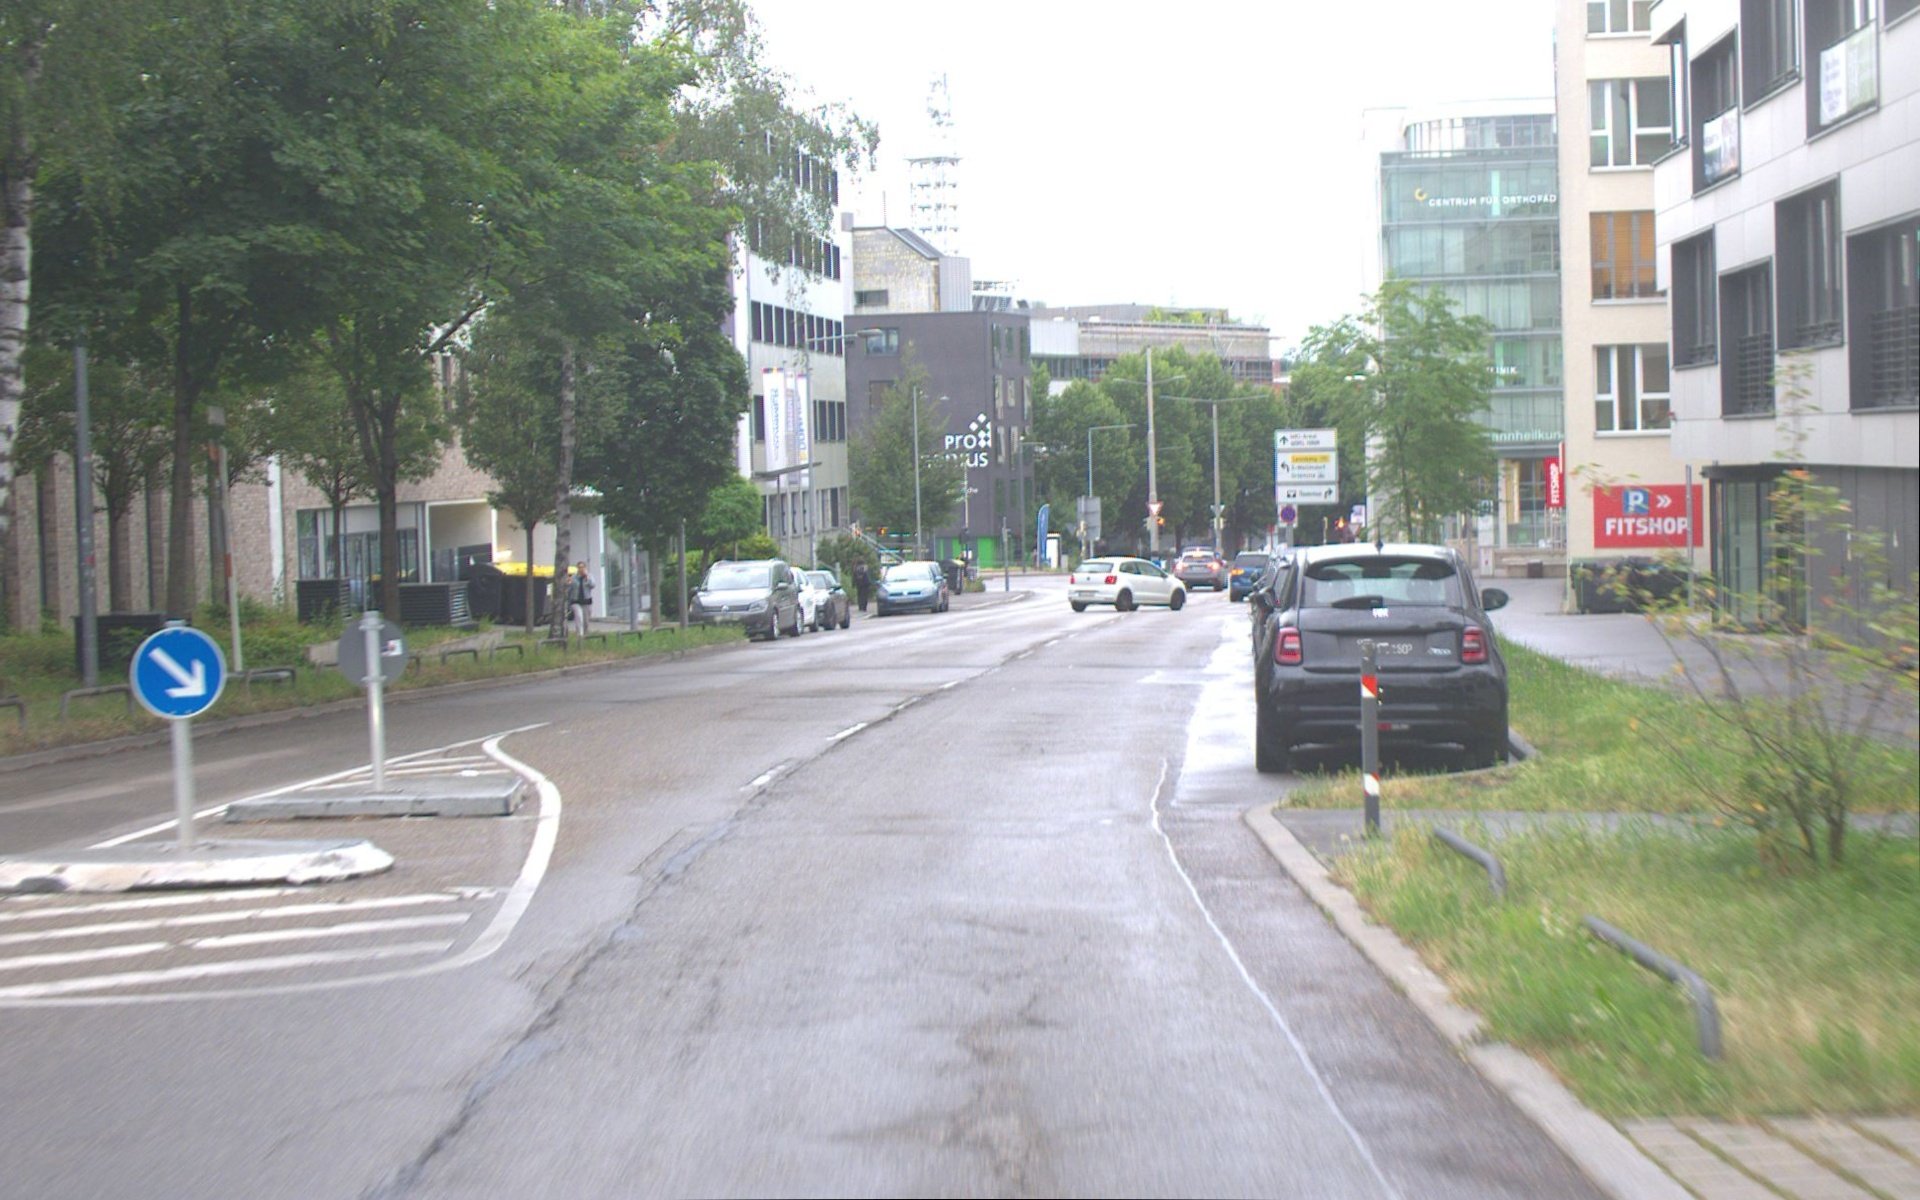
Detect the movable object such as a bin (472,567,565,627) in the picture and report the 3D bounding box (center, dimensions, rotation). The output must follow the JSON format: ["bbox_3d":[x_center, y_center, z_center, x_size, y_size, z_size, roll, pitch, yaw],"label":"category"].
[{"bbox_3d":[-10.573,-0.080,82.444,2.027,1.425,1.290,0,0,2],"label":"movable object such as a bin"}]

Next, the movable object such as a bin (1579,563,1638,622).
[{"bbox_3d":[15.173,-0.176,80.456,1.235,1.316,1.191,-2,-1,8],"label":"movable object such as a bin"}]

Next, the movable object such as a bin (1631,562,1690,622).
[{"bbox_3d":[16.535,-0.191,81.219,1.261,1.398,1.112,-1,0,8],"label":"movable object such as a bin"}]

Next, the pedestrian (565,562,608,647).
[{"bbox_3d":[-7.574,0.084,69.678,0.708,1.677,0.956,-1,1,1],"label":"pedestrian"}]

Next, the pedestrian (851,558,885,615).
[{"bbox_3d":[-2.833,-0.424,105.335,0.728,1.703,0.903,-2,-1,-21],"label":"pedestrian"}]

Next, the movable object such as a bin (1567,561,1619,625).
[{"bbox_3d":[15.220,-0.174,82.705,1.174,1.498,1.013,-1,0,8],"label":"movable object such as a bin"}]

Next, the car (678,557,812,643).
[{"bbox_3d":[-4.385,-0.019,70.710,2.078,1.603,4.685,-3,1,4],"label":"car"}]

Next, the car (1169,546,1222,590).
[{"bbox_3d":[9.652,-1.305,140.976,2.142,1.722,3.999,-1,0,4],"label":"car"}]

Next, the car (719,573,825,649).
[{"bbox_3d":[-4.156,0.225,76.384,1.773,1.595,4.031,-1,1,5],"label":"car"}]

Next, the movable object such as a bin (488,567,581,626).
[{"bbox_3d":[-10.367,-0.085,83.882,2.054,1.418,1.317,0,0,2],"label":"movable object such as a bin"}]

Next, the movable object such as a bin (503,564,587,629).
[{"bbox_3d":[-10.306,-0.093,85.424,1.795,1.505,1.481,-3,0,2],"label":"movable object such as a bin"}]

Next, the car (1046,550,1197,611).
[{"bbox_3d":[4.411,-0.537,93.587,1.998,1.571,3.986,-1,1,42],"label":"car"}]

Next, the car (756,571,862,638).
[{"bbox_3d":[-3.527,0.117,81.072,1.797,1.511,4.244,-1,0,7],"label":"car"}]

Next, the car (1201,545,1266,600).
[{"bbox_3d":[8.941,-0.904,112.178,1.994,1.744,3.672,-1,1,6],"label":"car"}]

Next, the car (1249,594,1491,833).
[{"bbox_3d":[2.872,0.740,24.257,1.546,1.473,3.660,-1,1,6],"label":"car"}]

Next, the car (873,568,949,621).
[{"bbox_3d":[-1.406,-0.155,100.555,1.914,1.476,4.356,-1,0,3],"label":"car"}]
